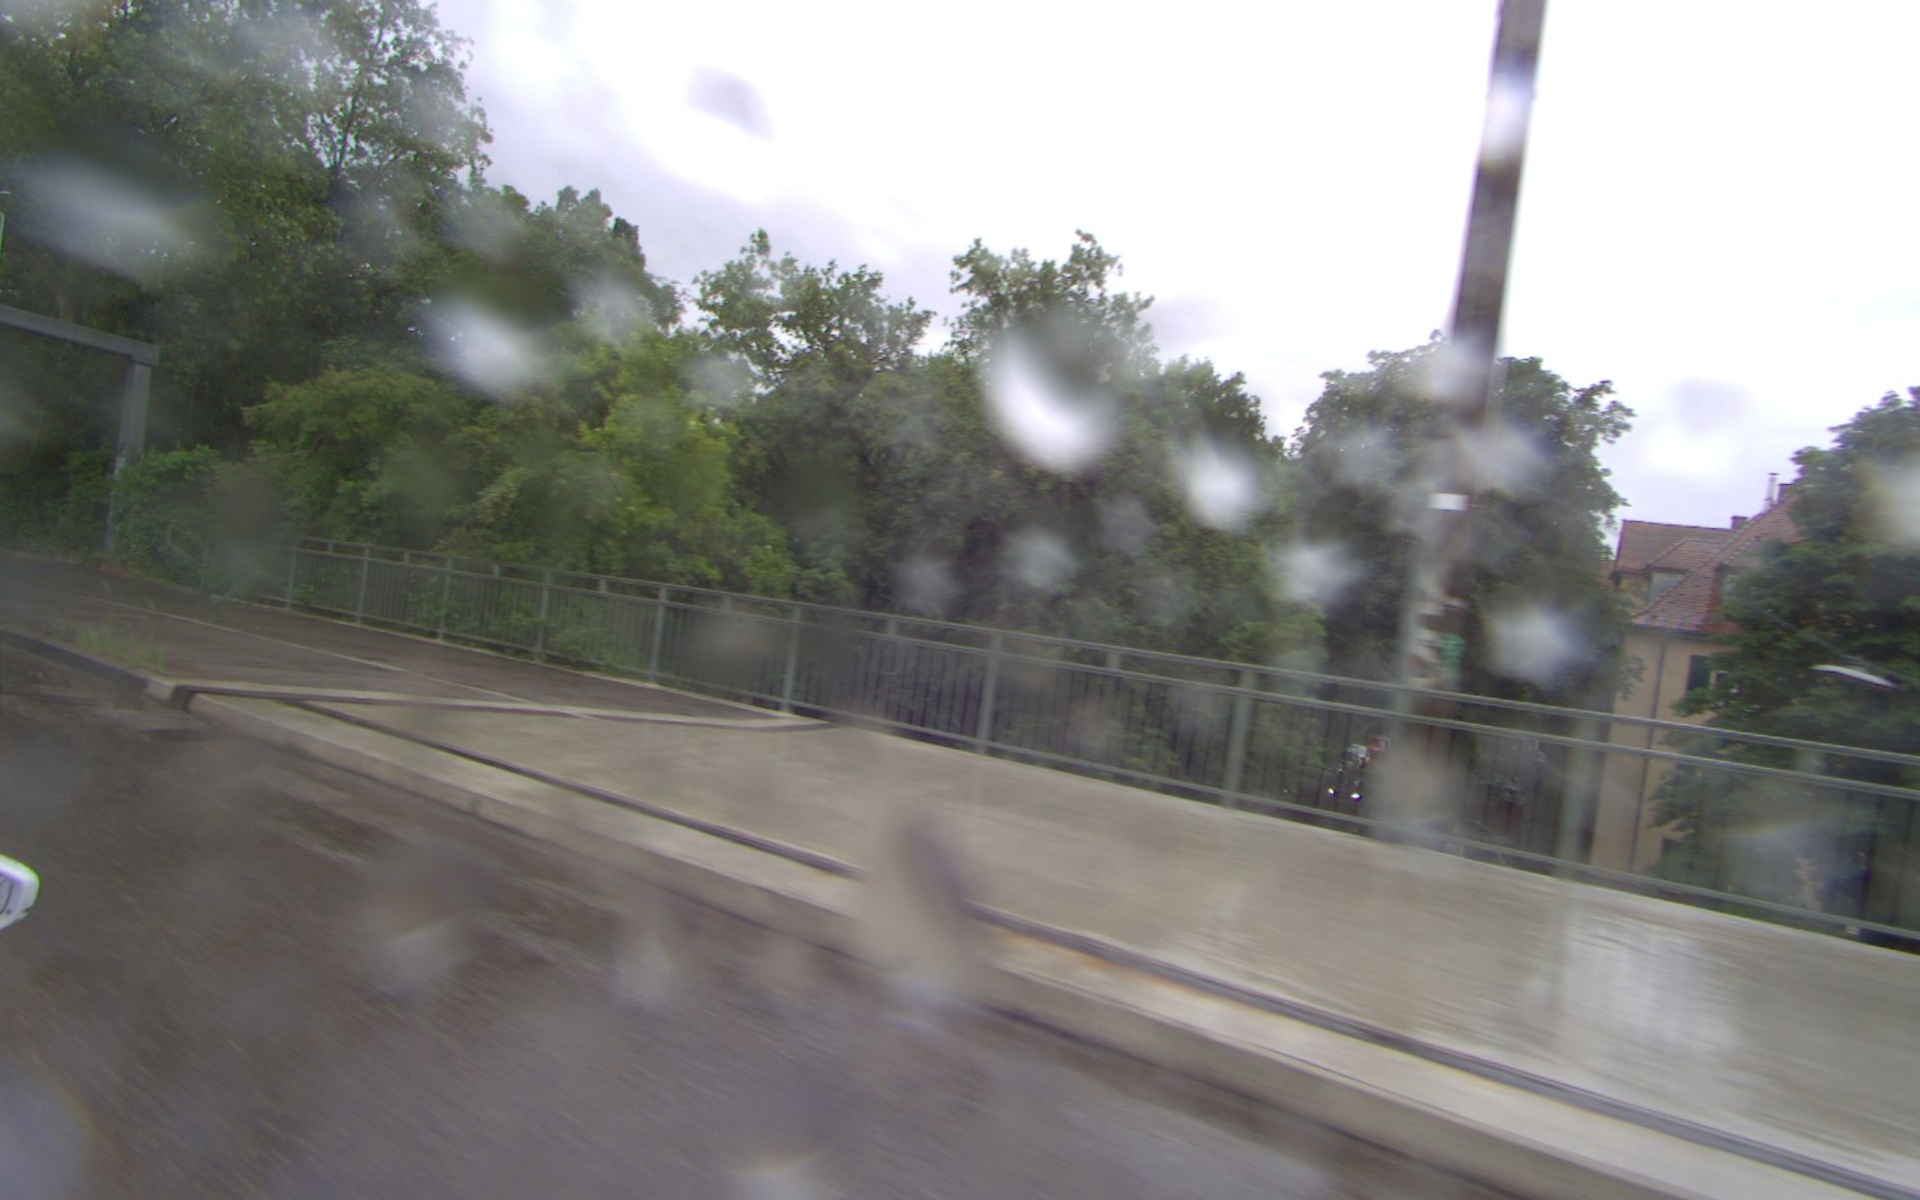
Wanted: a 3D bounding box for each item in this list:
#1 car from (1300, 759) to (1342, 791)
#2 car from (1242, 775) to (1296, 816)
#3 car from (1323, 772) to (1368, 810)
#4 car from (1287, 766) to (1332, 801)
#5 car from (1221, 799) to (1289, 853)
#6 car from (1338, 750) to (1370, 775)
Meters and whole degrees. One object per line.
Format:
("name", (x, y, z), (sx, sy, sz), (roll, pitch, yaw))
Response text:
("car", (23.269, 11.227, 64.777), (1.815, 1.436, 3.998), (8, -2, 28))
("car", (15.933, 10.028, 51.784), (1.814, 1.436, 3.999), (8, -2, 27))
("car", (21.879, 10.790, 57.033), (1.814, 1.436, 3.999), (8, -2, 27))
("car", (20.822, 10.873, 59.825), (1.814, 1.436, 3.999), (8, -2, 27))
("car", (12.361, 9.381, 41.961), (1.815, 1.436, 3.998), (8, -2, 28))
("car", (30.828, 12.700, 78.701), (1.814, 1.436, 3.999), (8, -2, 27))
